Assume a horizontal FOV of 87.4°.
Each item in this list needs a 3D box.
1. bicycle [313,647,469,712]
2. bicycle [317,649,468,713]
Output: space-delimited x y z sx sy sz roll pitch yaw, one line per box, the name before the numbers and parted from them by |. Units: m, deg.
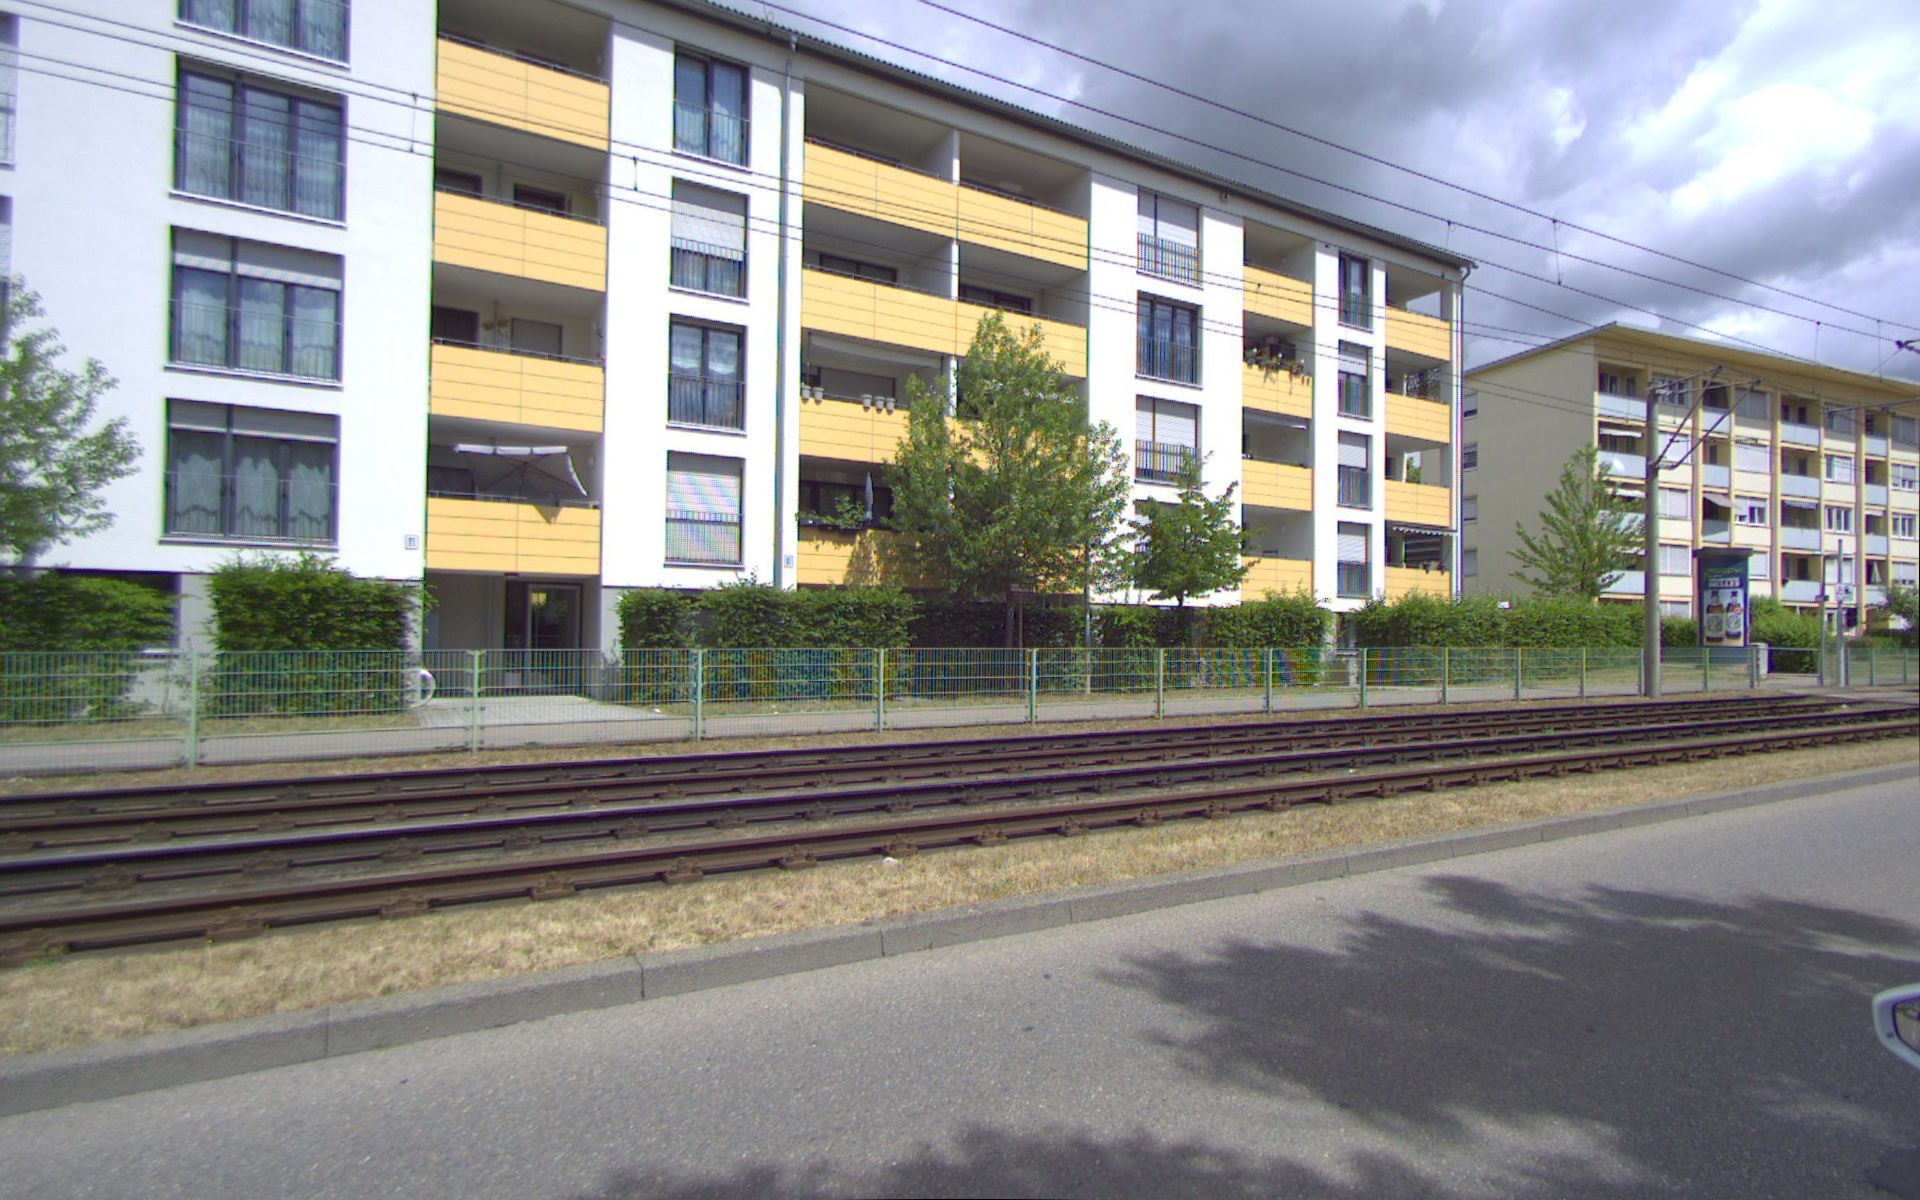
bicycle | -9.305 1.284 16.521 2.186 0.992 0.552 1 -1 -29
bicycle | -9.545 1.342 16.982 2.186 0.992 0.552 1 -1 -29
